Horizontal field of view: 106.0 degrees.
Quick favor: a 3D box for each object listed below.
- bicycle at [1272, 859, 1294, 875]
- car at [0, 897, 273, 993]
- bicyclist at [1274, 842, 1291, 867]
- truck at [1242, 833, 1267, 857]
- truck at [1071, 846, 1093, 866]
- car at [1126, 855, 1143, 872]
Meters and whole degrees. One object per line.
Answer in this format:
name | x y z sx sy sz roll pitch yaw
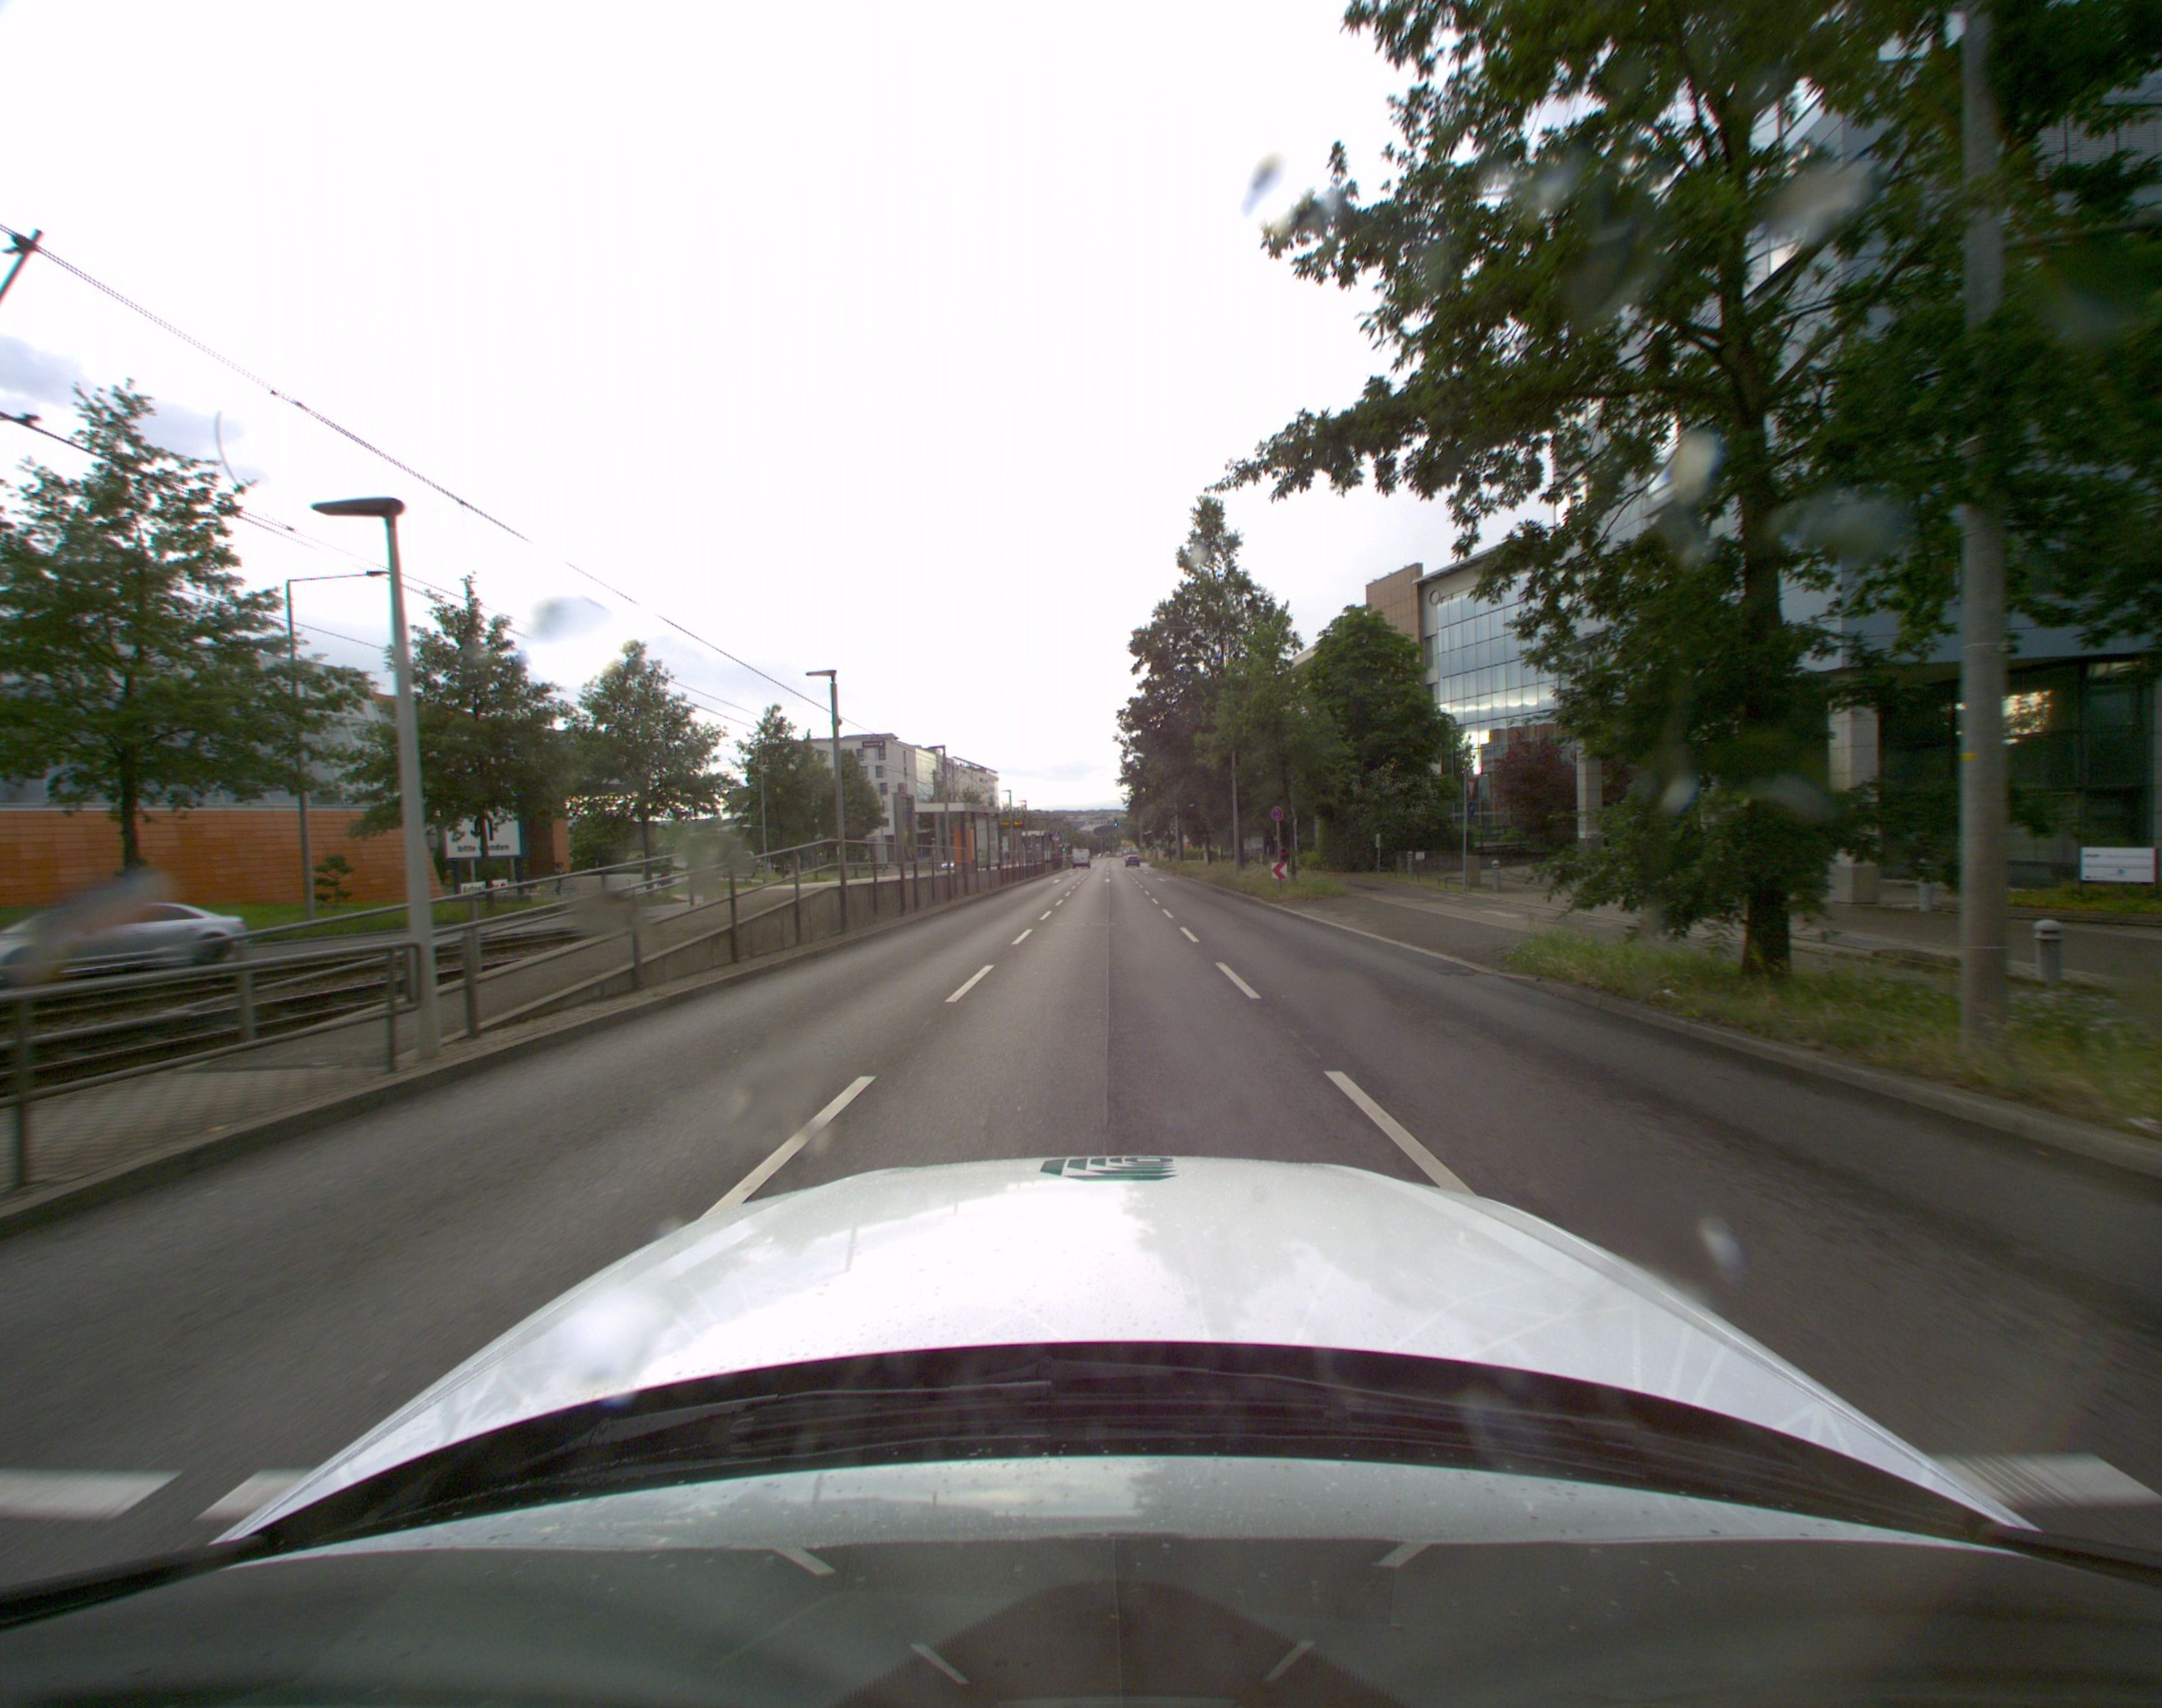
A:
bicycle | 10.570 0.656 42.719 0.665 0.809 2.319 0 0 2
car | -18.833 1.632 15.464 1.986 1.389 4.875 0 0 2
bicyclist | 10.567 0.027 42.717 0.653 1.288 1.220 0 0 2
truck | 18.769 -0.951 88.009 1.741 2.518 3.997 0 0 -1
truck | 0.162 0.263 97.109 2.350 2.262 5.310 0 0 3
car | 6.650 1.173 101.352 1.984 2.014 3.940 0 0 5
